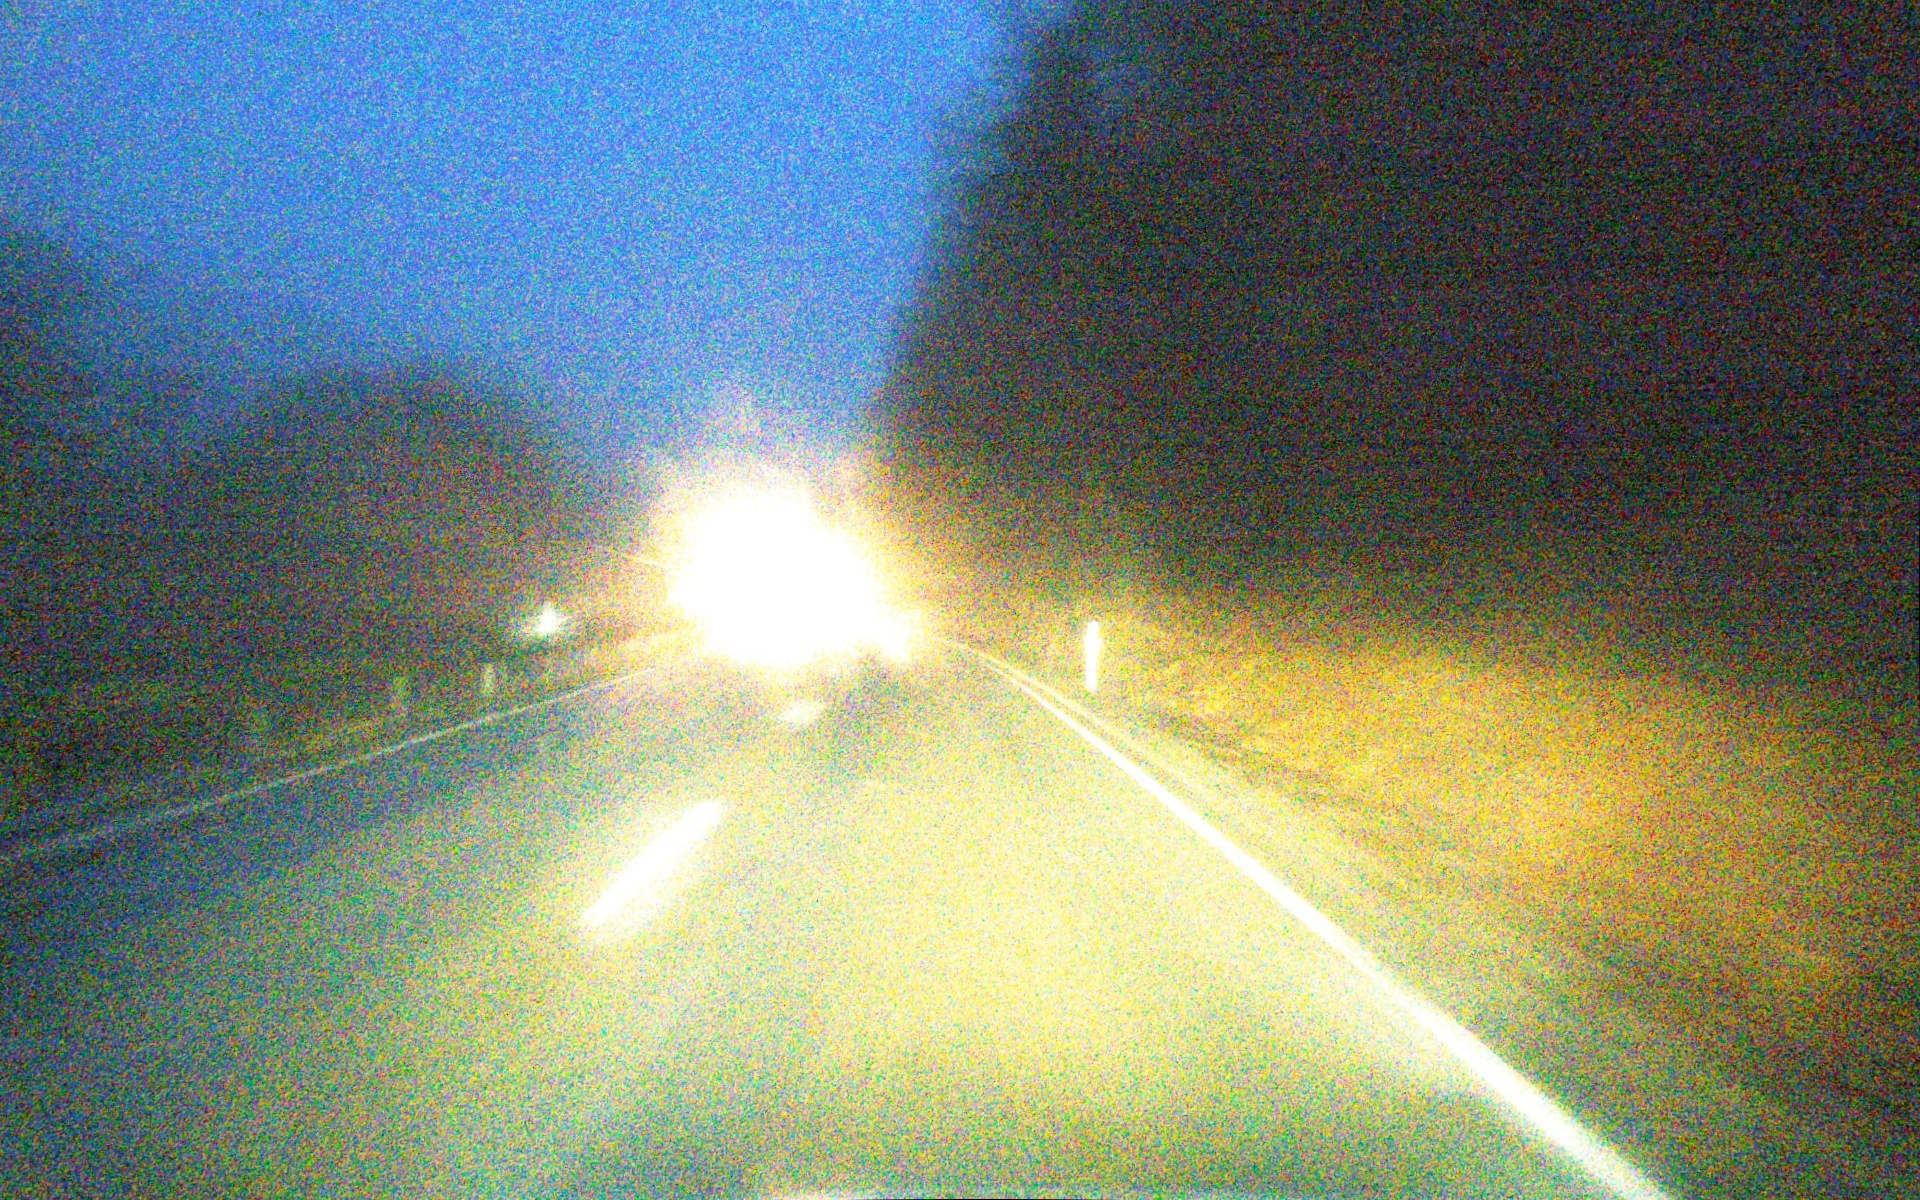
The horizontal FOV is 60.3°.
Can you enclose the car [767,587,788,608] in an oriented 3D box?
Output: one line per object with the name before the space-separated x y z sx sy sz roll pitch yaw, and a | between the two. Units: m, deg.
car | -15.457 -0.210 139.949 1.688 1.641 3.997 2 0 -6
